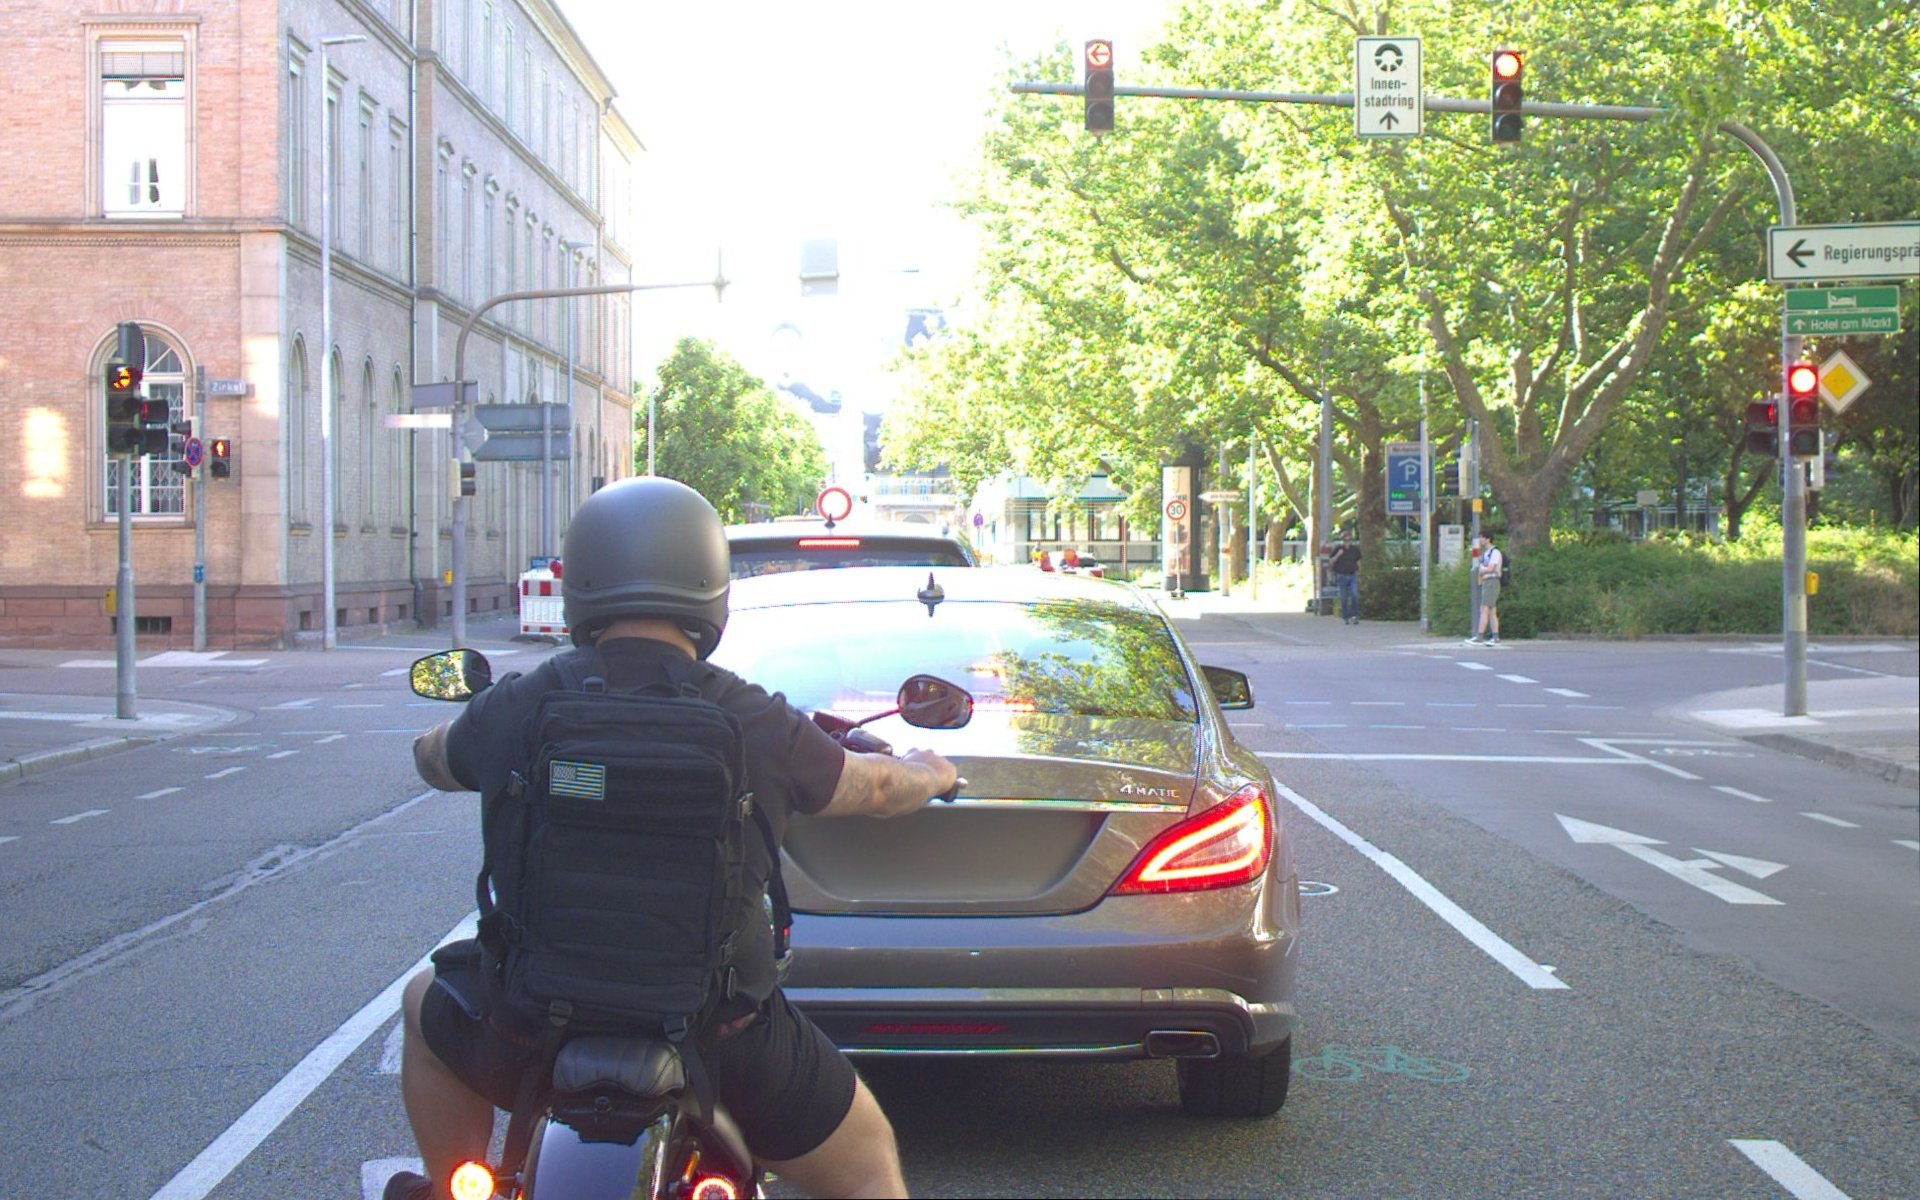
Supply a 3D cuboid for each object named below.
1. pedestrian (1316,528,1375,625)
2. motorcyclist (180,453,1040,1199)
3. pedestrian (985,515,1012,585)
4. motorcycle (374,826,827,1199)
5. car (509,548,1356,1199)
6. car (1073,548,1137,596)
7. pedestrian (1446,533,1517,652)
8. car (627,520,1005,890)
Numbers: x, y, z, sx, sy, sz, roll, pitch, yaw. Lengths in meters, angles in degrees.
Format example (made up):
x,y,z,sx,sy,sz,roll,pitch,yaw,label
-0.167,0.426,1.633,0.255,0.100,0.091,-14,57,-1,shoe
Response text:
x,y,z,sx,sy,sz,roll,pitch,yaw,label
7.677,-0.474,68.446,0.749,1.903,0.926,1,0,-28,pedestrian
-0.484,0.599,5.294,1.149,1.593,1.288,1,0,-1,motorcyclist
1.123,-1.456,100.794,0.764,2.044,0.712,1,0,-1,pedestrian
-0.497,0.930,5.348,0.513,0.999,2.013,1,1,-1,motorcycle
-0.084,0.598,9.627,1.882,1.444,3.820,1,1,-1,car
4.407,-0.864,104.890,1.776,1.423,3.802,0,1,-1,car
8.131,-0.124,53.628,1.002,1.820,1.076,1,0,6,pedestrian
-0.638,0.413,16.742,1.621,1.588,4.000,0,1,-1,car
